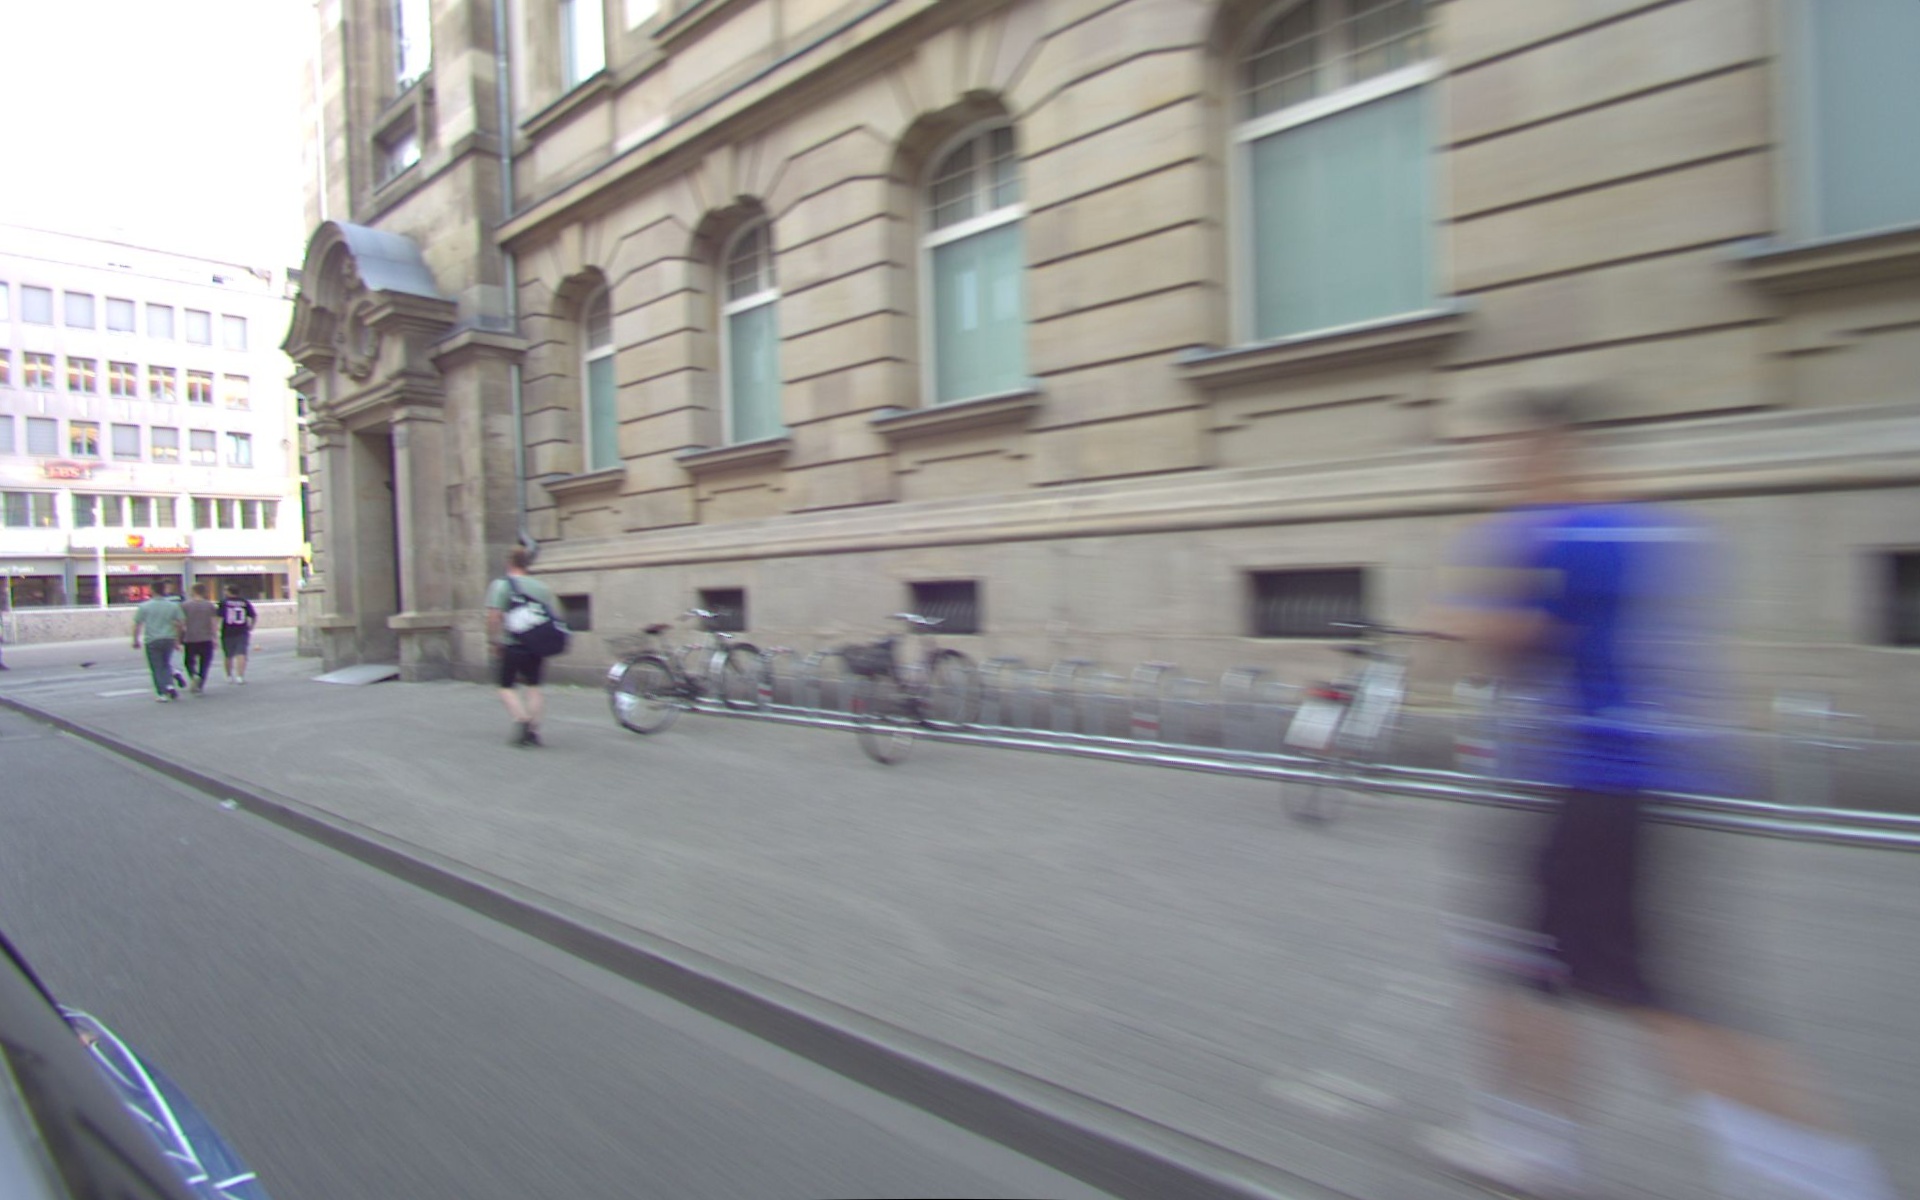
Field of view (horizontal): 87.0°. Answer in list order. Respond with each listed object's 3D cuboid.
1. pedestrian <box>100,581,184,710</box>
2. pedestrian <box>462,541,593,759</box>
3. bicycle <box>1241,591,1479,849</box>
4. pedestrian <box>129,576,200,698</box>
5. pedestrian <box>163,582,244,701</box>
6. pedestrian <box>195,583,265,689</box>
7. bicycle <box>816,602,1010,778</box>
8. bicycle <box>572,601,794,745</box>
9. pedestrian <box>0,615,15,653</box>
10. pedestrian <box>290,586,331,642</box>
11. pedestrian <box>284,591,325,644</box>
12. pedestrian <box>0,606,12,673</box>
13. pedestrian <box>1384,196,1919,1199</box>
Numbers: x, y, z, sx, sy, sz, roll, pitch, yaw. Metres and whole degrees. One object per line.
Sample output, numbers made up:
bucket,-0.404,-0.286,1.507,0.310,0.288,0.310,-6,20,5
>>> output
pedestrian,-11.806,0.636,14.606,0.839,1.755,0.718,-1,4,44
pedestrian,-3.780,0.403,8.849,0.800,1.793,0.710,-1,2,41
bicycle,2.278,0.545,5.594,0.729,1.086,1.920,-1,3,37
pedestrian,-12.745,0.574,16.217,0.708,1.843,0.871,-6,3,-42
pedestrian,-11.340,0.606,15.169,0.858,1.680,0.721,-1,4,44
pedestrian,-12.173,0.581,16.877,0.747,1.654,0.749,-6,3,-42
bicycle,-0.288,0.619,7.895,0.725,1.086,2.011,-1,2,21
bicycle,-2.571,0.628,9.645,0.728,1.117,2.002,-1,3,34
pedestrian,-43.341,1.543,45.940,0.558,1.721,0.539,-1,1,41
pedestrian,-21.256,0.451,33.127,0.745,1.774,0.851,-1,2,41
pedestrian,-20.870,0.554,32.226,0.738,1.602,0.854,-1,2,41
pedestrian,-24.159,0.984,25.114,0.731,1.672,0.755,-1,0,-26
pedestrian,1.415,0.329,1.905,0.765,1.802,0.822,-1,-1,-13
